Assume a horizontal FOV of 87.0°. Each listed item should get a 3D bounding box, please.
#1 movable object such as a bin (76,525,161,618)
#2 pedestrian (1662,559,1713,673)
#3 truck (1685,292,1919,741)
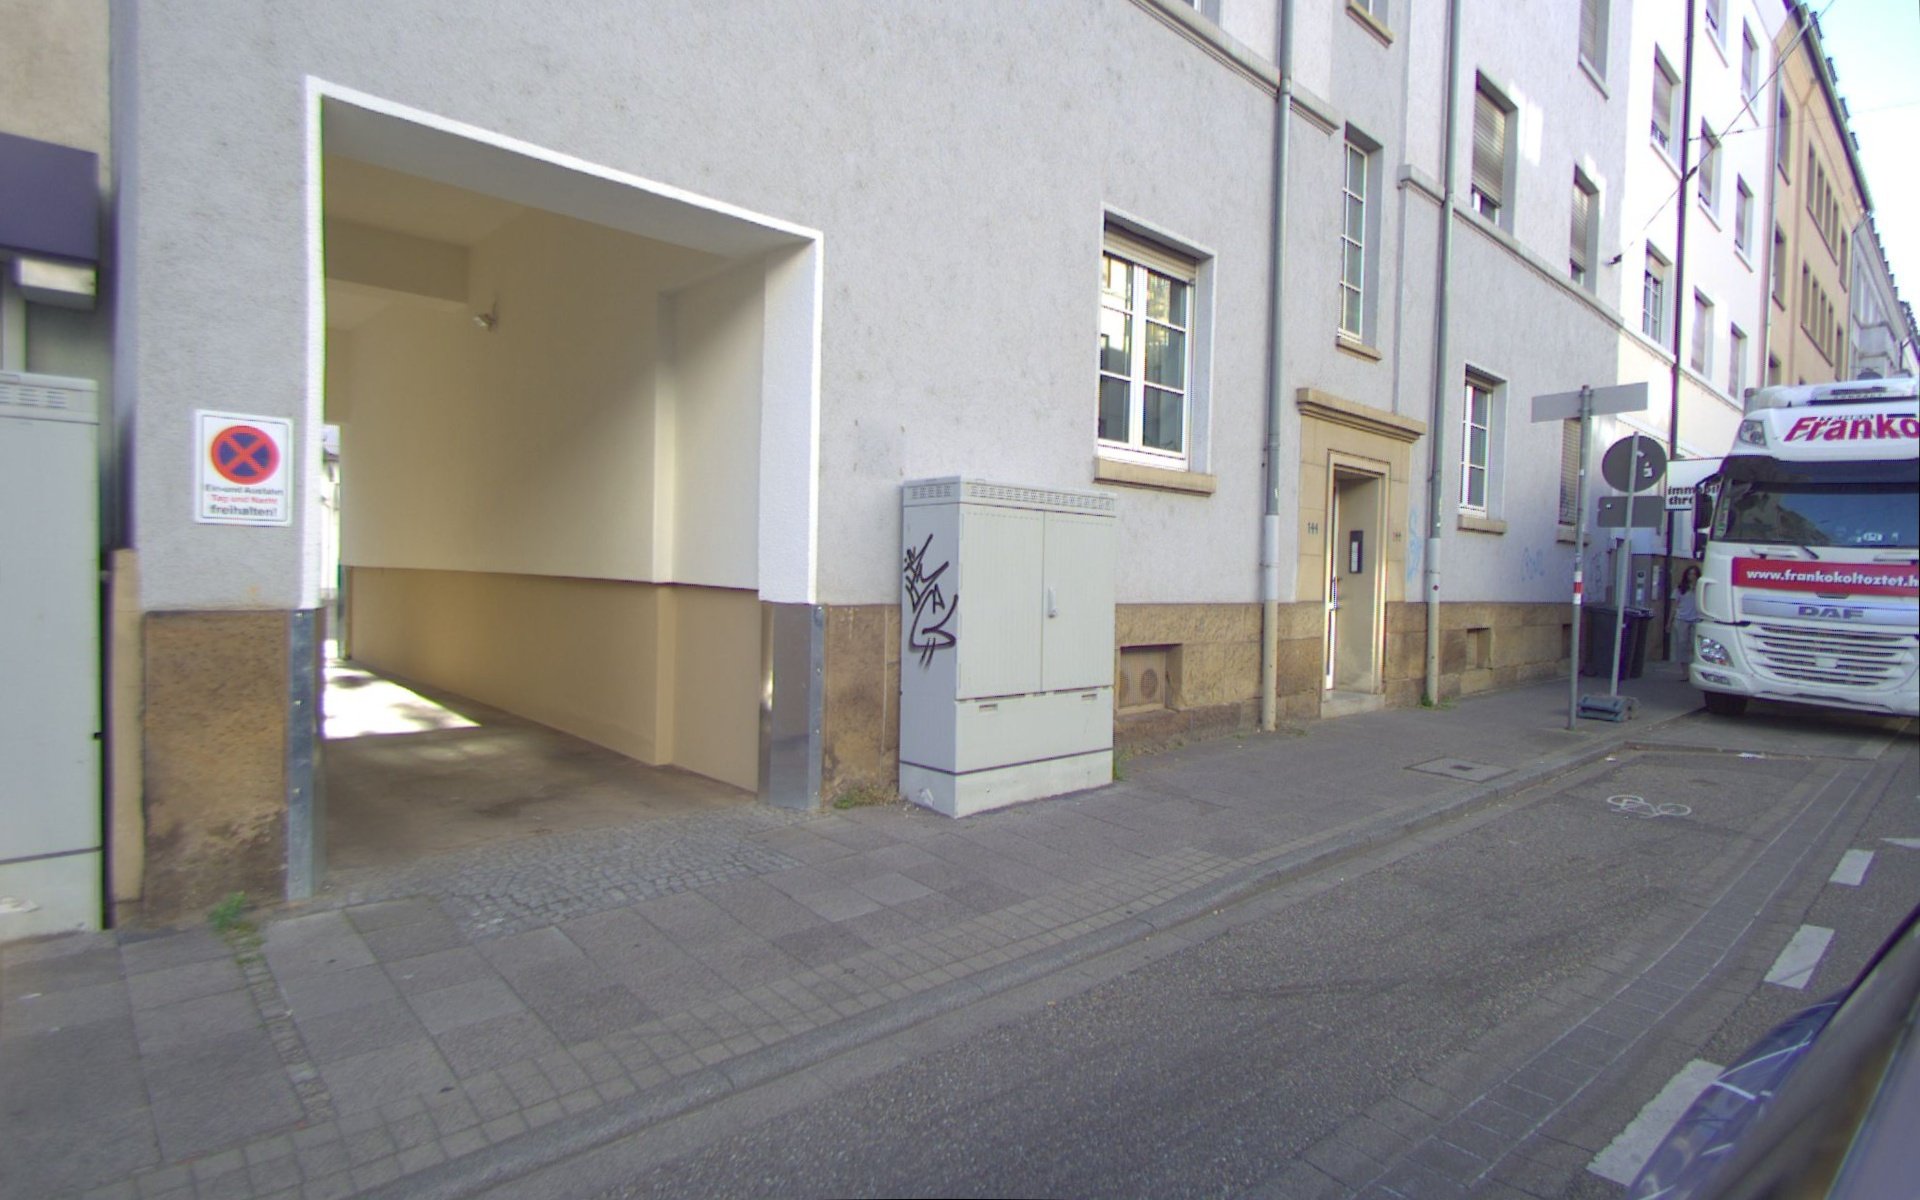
[{"bbox_3d":[-14.501,-0.479,17.446,1.091,1.512,1.328,-1,0,-41],"label":"movable object such as a bin"},{"bbox_3d":[10.813,0.223,15.044,0.459,1.649,0.475,-1,2,-41],"label":"pedestrian"},{"bbox_3d":[13.151,-0.933,13.941,11.577,4.290,2.697,-2,3,-42],"label":"truck"}]
